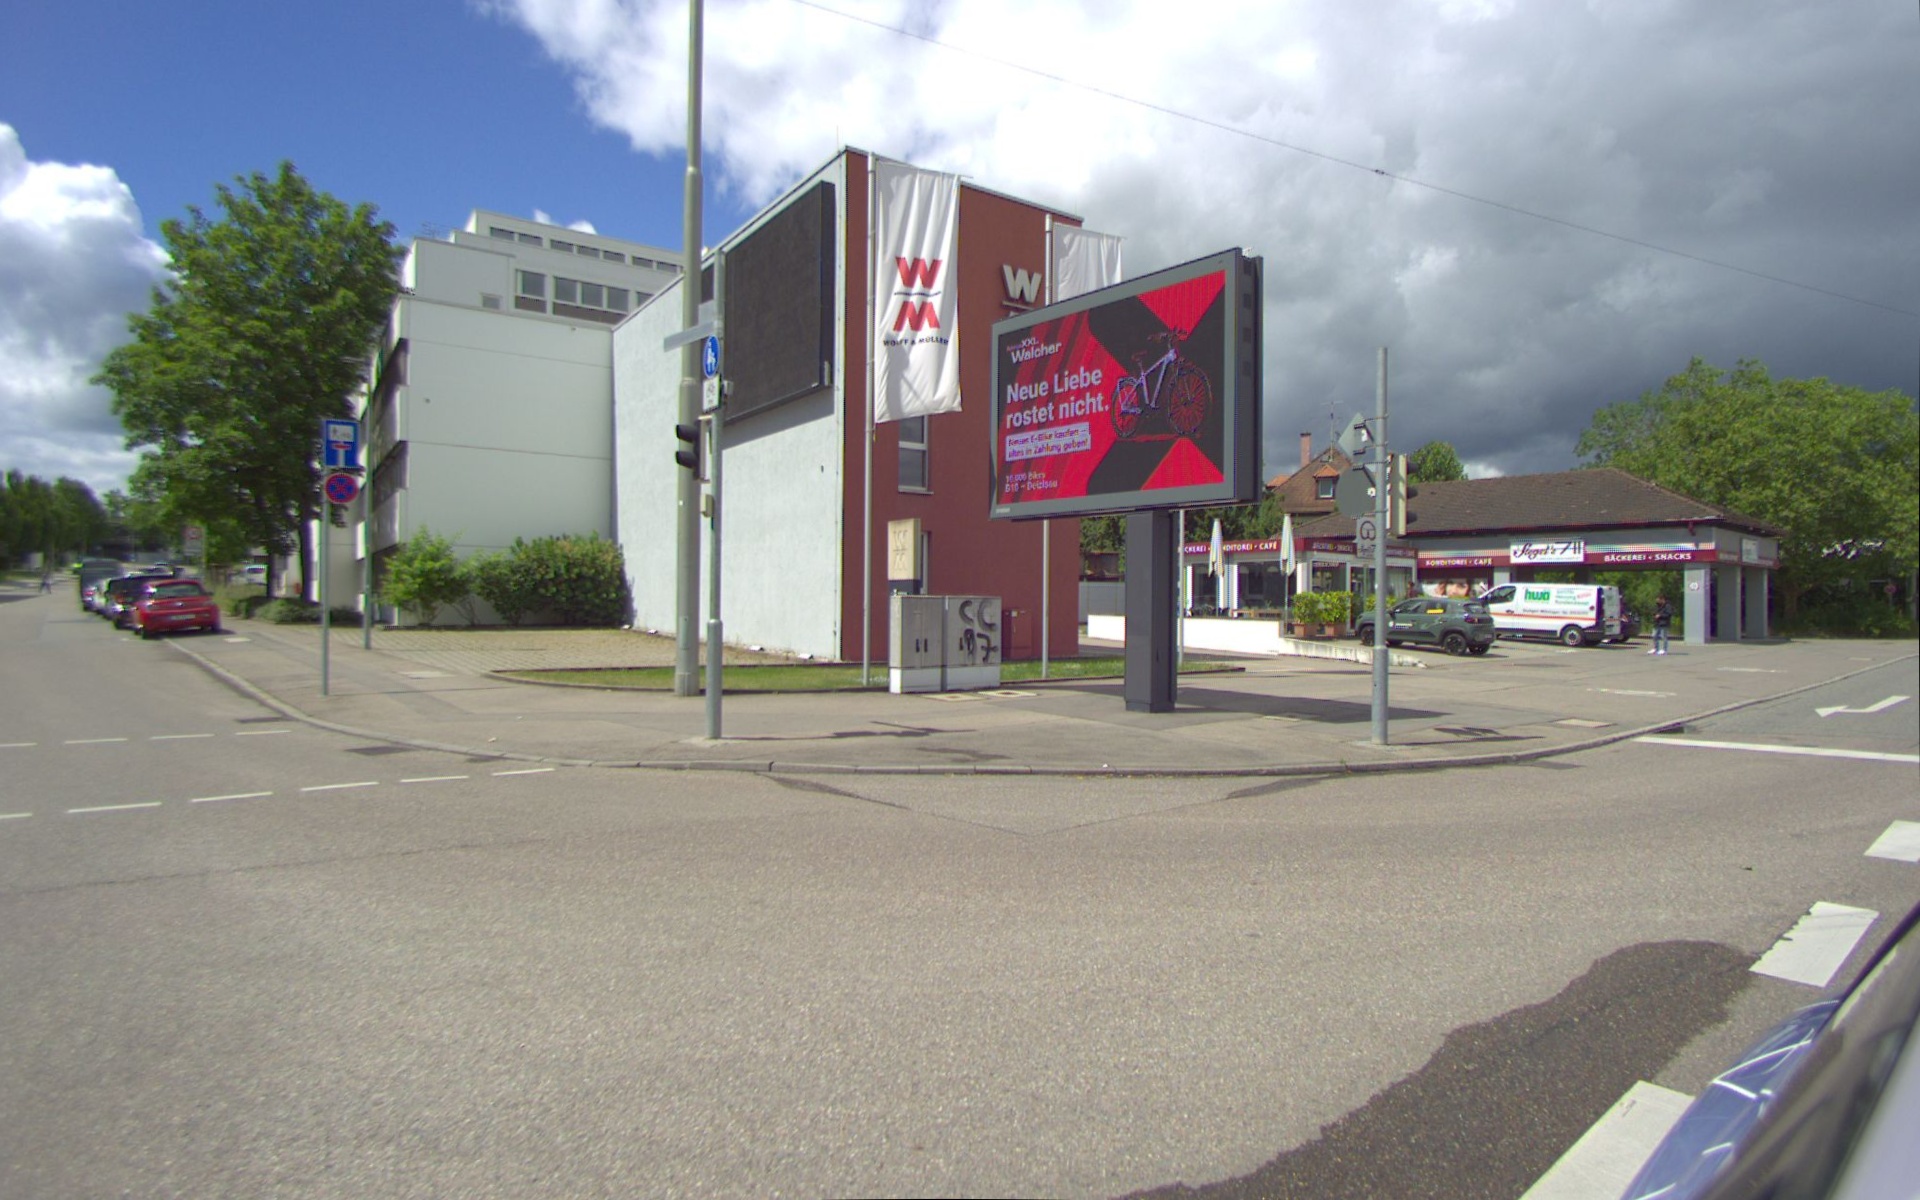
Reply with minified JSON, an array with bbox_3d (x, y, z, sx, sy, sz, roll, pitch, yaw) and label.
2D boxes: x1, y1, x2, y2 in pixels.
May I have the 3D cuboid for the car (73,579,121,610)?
[{"bbox_3d":[-39.684,-0.228,46.493,1.472,1.357,3.528,0,-1,-44],"label":"car"}]

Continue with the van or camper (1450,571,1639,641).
[{"bbox_3d":[19.168,0.113,33.395,2.173,1.981,4.910,-1,4,-39],"label":"van or camper"}]

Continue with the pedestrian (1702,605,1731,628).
[{"bbox_3d":[41.641,0.912,55.728,0.945,1.264,0.888,0,0,-12],"label":"pedestrian"}]

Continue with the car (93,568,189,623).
[{"bbox_3d":[-25.422,-0.157,31.361,4.300,1.589,1.841,1,1,45],"label":"car"}]

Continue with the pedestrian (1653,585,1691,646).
[{"bbox_3d":[20.385,0.442,28.980,0.726,1.729,0.713,0,-1,-40],"label":"pedestrian"}]

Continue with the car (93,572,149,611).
[{"bbox_3d":[-33.497,-0.317,40.371,1.472,1.480,3.528,0,-1,-44],"label":"car"}]

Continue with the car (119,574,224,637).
[{"bbox_3d":[-21.526,0.122,27.580,3.669,1.479,1.720,0,5,45],"label":"car"}]

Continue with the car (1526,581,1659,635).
[{"bbox_3d":[21.739,0.227,34.861,1.804,1.503,3.458,-1,5,-42],"label":"car"}]

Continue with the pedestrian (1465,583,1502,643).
[{"bbox_3d":[15.412,0.377,29.809,0.617,1.729,0.716,0,0,-13],"label":"pedestrian"}]

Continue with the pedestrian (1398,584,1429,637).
[{"bbox_3d":[14.775,0.332,32.967,0.558,1.729,0.752,0,0,-13],"label":"pedestrian"}]

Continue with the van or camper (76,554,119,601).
[{"bbox_3d":[-53.623,-1.366,62.908,1.965,2.772,5.115,0,1,-41],"label":"van or camper"}]

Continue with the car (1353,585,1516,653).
[{"bbox_3d":[13.089,0.470,28.077,1.730,1.503,3.679,-1,5,-38],"label":"car"}]
